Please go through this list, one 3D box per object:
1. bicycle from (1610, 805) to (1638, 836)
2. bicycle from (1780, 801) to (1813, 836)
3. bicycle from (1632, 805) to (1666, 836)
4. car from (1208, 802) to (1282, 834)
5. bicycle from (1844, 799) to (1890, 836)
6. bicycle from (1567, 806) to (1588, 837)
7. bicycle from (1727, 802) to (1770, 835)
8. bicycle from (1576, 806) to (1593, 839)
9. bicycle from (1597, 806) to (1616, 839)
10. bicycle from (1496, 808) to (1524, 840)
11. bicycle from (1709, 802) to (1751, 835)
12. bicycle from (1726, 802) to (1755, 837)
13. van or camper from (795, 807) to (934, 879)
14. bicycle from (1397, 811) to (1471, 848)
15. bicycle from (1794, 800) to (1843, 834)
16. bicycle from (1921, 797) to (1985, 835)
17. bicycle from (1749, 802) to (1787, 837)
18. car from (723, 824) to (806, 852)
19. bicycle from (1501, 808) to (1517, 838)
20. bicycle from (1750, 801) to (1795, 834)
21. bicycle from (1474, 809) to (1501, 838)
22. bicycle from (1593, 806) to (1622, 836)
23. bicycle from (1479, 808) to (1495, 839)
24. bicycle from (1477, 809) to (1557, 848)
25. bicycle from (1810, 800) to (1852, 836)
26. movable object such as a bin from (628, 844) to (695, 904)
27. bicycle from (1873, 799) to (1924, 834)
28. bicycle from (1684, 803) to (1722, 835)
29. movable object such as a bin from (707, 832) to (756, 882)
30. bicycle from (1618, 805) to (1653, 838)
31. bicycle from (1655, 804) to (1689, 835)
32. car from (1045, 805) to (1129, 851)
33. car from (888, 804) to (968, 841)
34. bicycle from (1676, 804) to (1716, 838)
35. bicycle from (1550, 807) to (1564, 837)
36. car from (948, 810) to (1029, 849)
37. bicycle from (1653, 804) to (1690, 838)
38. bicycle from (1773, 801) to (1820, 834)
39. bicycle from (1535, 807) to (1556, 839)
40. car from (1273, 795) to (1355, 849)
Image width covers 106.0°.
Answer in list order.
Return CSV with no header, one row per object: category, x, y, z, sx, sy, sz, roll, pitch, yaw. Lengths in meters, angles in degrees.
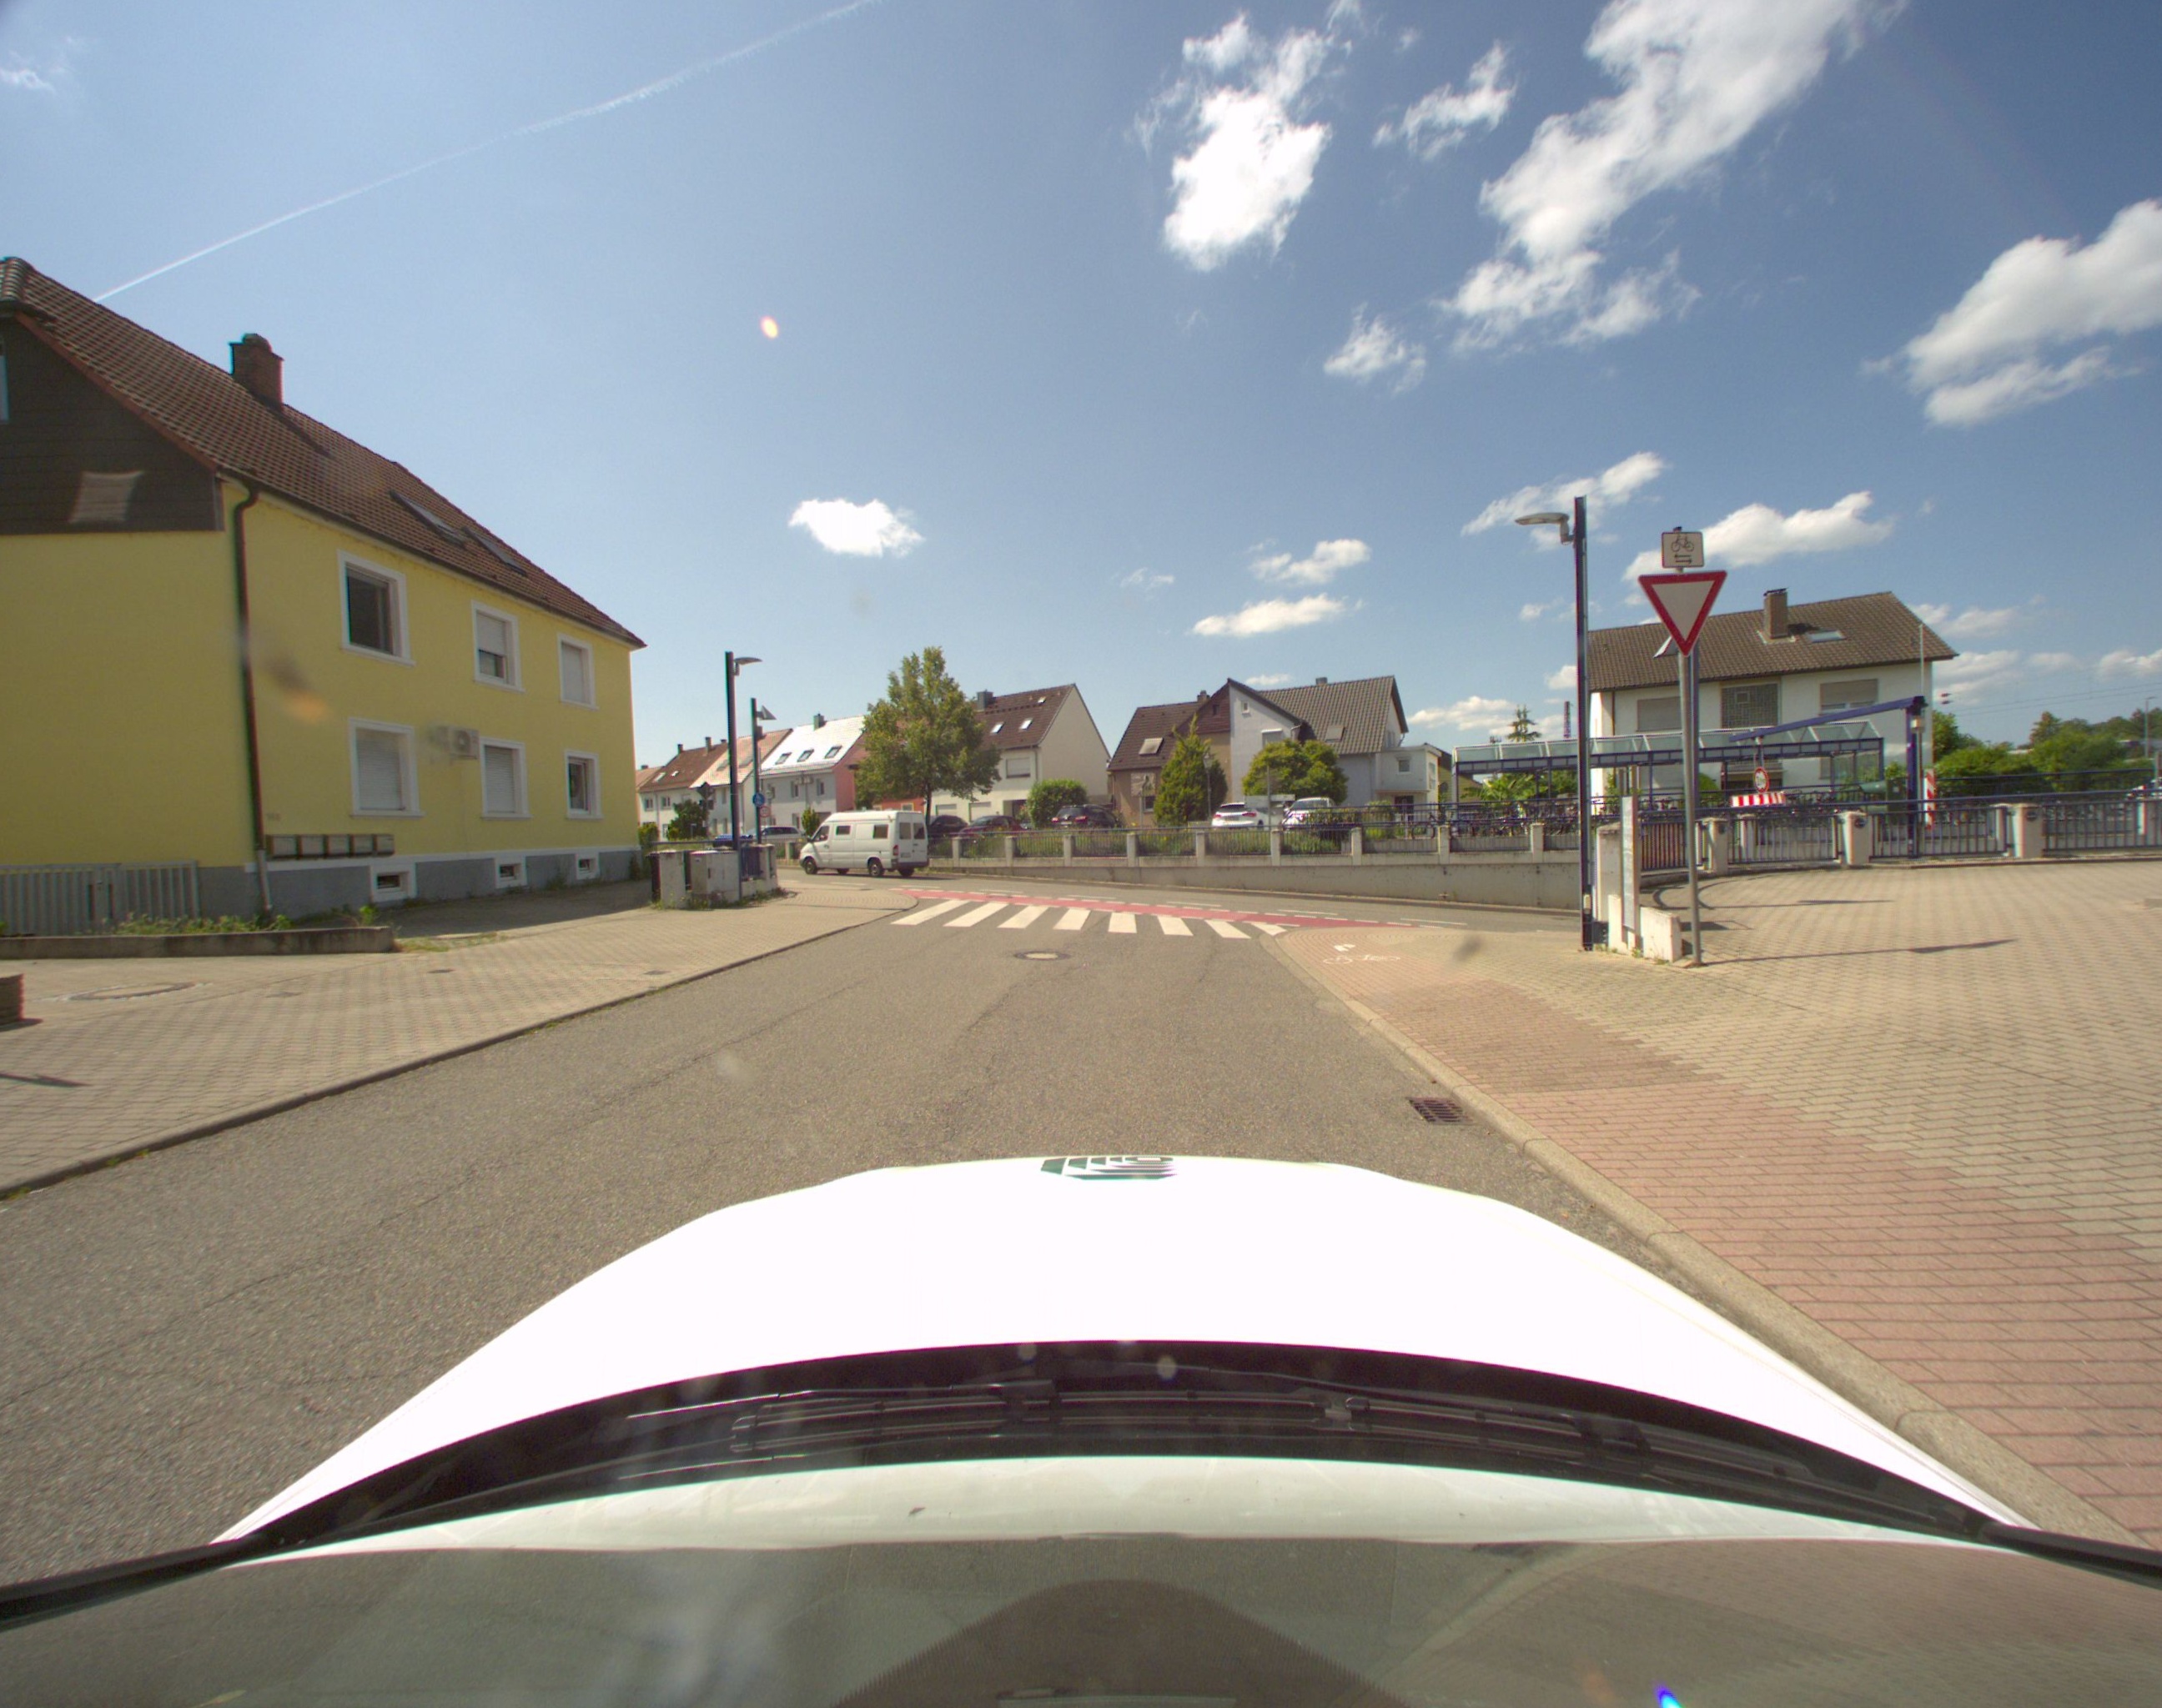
bicycle,18.232,-1.118,27.362,0.410,0.994,1.977,0,2,23
bicycle,21.144,-1.036,24.086,0.510,0.994,2.052,0,2,35
bicycle,18.897,-1.123,27.111,0.514,0.994,1.977,0,2,23
car,6.340,-1.357,31.247,1.808,1.019,3.480,3,2,28
bicycle,22.516,-1.039,23.369,0.538,0.994,2.052,0,2,32
bicycle,17.086,-1.117,28.017,0.422,0.994,1.977,0,2,26
bicycle,21.428,-1.140,26.168,0.514,0.994,1.977,0,2,23
bicycle,16.107,-1.004,26.063,0.431,0.994,2.296,0,2,31
bicycle,16.626,-1.006,25.808,0.431,0.994,2.296,0,2,31
bicycle,13.994,-0.980,26.543,0.431,0.994,2.116,0,2,39
bicycle,20.812,-1.128,26.146,0.514,0.994,1.977,0,2,23
bicycle,19.663,-1.016,24.315,0.573,0.994,2.202,0,2,36
van or camper,-8.568,-0.453,32.094,5.325,2.630,2.017,2,0,30
bicycle,10.937,-0.754,25.305,2.096,1.125,0.335,0,2,22
bicycle,23.000,-1.146,25.424,0.514,0.994,1.977,0,2,23
bicycle,24.347,-1.054,22.778,0.539,0.994,2.051,0,2,26
bicycle,20.489,-1.031,24.324,0.510,0.994,2.052,0,2,30
car,-18.779,-0.950,48.497,1.725,1.488,4.283,4,2,35
bicycle,15.009,-1.095,28.545,0.369,0.994,1.978,0,2,32
bicycle,21.971,-1.142,25.892,0.514,0.994,1.977,0,2,23
bicycle,14.323,-1.087,28.694,0.451,0.994,1.900,0,2,39
bicycle,17.802,-1.116,27.561,0.469,0.994,1.977,0,2,23
bicycle,13.565,-1.027,27.216,0.329,0.994,2.087,0,2,22
bicycle,13.064,-0.767,24.460,2.096,1.125,0.394,0,2,22
bicycle,21.753,-1.034,23.650,0.510,0.994,2.052,0,2,32
movable object such as a bin,-8.809,0.404,17.153,0.881,1.225,0.903,-1,1,4
bicycle,24.634,-1.116,24.580,0.538,0.994,2.052,0,2,29
bicycle,20.110,-1.122,26.360,0.514,0.994,1.977,0,2,23
movable object such as a bin,-8.792,0.060,20.515,0.840,1.213,1.272,-1,1,-11
bicycle,17.285,-1.006,25.418,0.527,0.994,2.295,0,2,25
bicycle,19.562,-1.130,26.965,0.514,0.994,1.812,0,2,23
car,0.321,-1.089,34.951,1.850,1.796,4.024,3,2,28
car,-7.307,-1.489,39.132,1.850,1.586,3.632,3,2,28
bicycle,18.974,-1.029,25.154,0.527,0.994,2.201,0,2,25
bicycle,16.442,-1.109,28.133,0.369,0.994,1.978,0,2,32
car,-4.168,-1.093,37.046,1.850,1.586,3.632,3,2,28
bicycle,18.253,-1.018,25.215,0.527,0.994,2.201,0,2,25
bicycle,22.497,-1.143,25.637,0.514,0.994,1.977,0,2,23
bicycle,14.995,-0.991,26.288,0.431,0.994,2.116,0,2,34
car,8.663,-1.135,30.036,1.975,1.796,4.222,3,2,28
